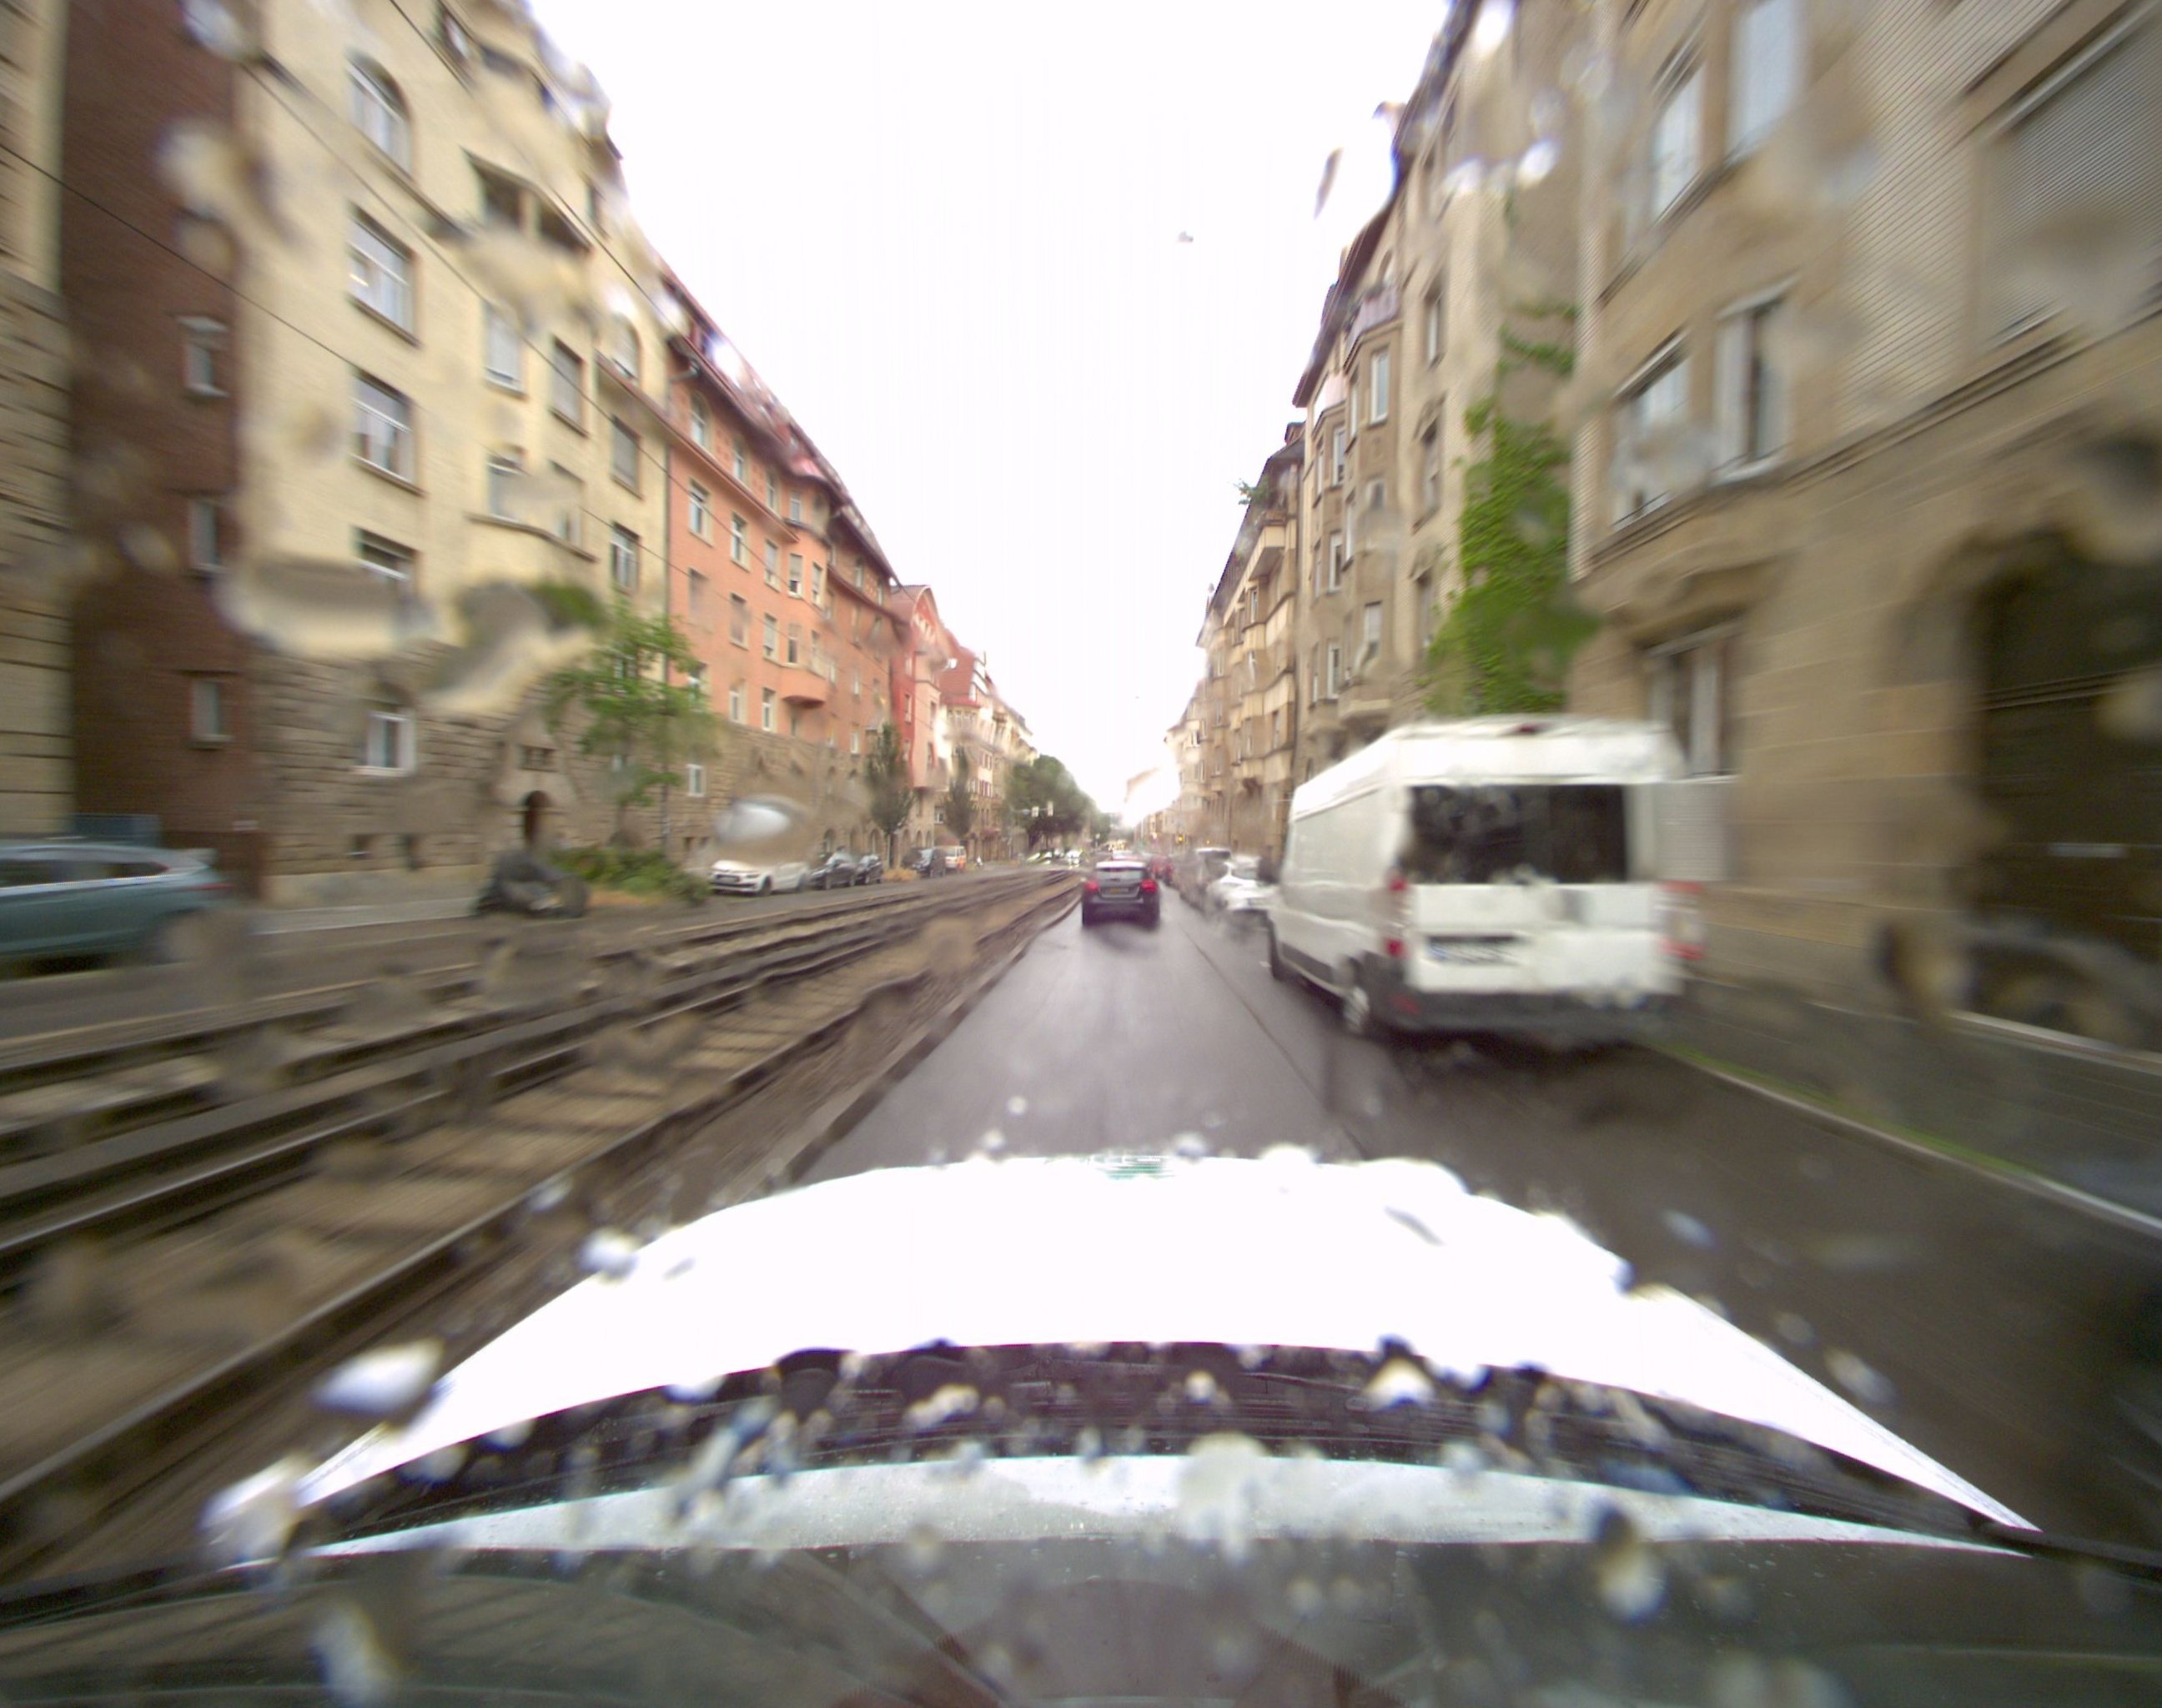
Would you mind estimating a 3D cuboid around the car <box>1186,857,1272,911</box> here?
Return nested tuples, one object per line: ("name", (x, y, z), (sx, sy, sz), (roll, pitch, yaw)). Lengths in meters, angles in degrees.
("car", (4.303, 0.828, 24.280), (1.986, 1.441, 4.002), (0, 0, 2))

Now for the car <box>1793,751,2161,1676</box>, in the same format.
("car", (2.928, 0.725, 0.195), (1.761, 1.808, 4.486), (1, 0, 3))

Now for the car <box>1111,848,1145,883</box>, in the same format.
("car", (2.252, 0.497, 38.731), (1.529, 1.510, 4.004), (1, 1, 3))

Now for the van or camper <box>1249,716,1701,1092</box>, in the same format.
("van or camper", (3.220, 0.323, 8.439), (2.055, 2.469, 6.124), (0, 0, 3))

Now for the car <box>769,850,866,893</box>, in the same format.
("car", (-10.570, 0.659, 33.163), (1.985, 1.509, 4.980), (2, 1, 4))

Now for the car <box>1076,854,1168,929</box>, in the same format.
("car", (0.931, 0.789, 18.968), (1.938, 1.564, 3.644), (0, 0, 2))

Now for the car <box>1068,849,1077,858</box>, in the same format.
("car", (-1.585, -0.146, 153.610), (1.790, 1.548, 3.999), (2, 0, -1))

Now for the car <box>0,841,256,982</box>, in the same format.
("car", (-11.831, 0.583, 8.725), (1.554, 1.438, 4.150), (1, 0, 4))

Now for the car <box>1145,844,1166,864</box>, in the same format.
("car", (6.029, -0.017, 66.002), (1.542, 1.508, 4.004), (1, 1, 3))

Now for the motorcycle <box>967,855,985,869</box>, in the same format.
("motorcycle", (-8.808, 0.695, 68.363), (1.423, 1.134, 0.624), (1, 0, 32))

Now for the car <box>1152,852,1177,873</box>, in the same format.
("car", (6.202, 0.605, 60.625), (1.596, 1.419, 3.150), (1, 1, 2))

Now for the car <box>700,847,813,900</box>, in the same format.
("car", (-10.784, 0.627, 27.428), (1.776, 1.589, 4.356), (-2, 0, 4))

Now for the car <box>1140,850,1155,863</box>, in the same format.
("car", (8.915, 0.339, 109.245), (1.763, 1.776, 3.999), (0, -1, -1))

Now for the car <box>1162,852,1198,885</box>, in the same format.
("car", (5.263, 0.750, 43.775), (1.703, 1.628, 4.005), (1, 1, 4))

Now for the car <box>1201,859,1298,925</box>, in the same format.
("car", (3.976, 0.848, 19.779), (1.669, 1.411, 4.002), (-1, 0, 2))

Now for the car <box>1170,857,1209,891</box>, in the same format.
("car", (5.171, 0.942, 39.131), (1.552, 1.478, 3.464), (1, 1, 3))

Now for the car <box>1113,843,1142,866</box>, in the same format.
("car", (3.541, -0.004, 61.180), (1.911, 1.655, 4.008), (1, 1, 7))

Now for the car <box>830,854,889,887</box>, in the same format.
("car", (-10.299, 0.716, 38.064), (1.636, 1.398, 3.884), (1, 1, 0))

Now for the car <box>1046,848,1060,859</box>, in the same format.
("car", (-4.757, -0.119, 140.099), (1.985, 1.793, 4.004), (1, 1, 3))

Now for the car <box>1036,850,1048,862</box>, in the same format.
("car", (-5.827, 0.242, 122.732), (1.785, 1.691, 3.996), (1, 0, -3))

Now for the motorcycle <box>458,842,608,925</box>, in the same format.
("motorcycle", (-11.329, 0.581, 16.966), (2.262, 1.642, 1.287), (0, 0, -14))

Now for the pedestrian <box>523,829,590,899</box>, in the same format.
("pedestrian", (-13.825, 0.248, 21.493), (1.003, 1.753, 0.925), (-5, 1, 3))

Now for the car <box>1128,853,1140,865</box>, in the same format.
("car", (7.852, 0.733, 121.045), (1.845, 1.797, 3.815), (0, -1, 3))

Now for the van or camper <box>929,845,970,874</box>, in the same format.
("van or camper", (-9.298, 0.363, 57.919), (1.986, 1.901, 4.700), (1, 0, 1))

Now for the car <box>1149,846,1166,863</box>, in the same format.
("car", (9.060, 0.081, 97.198), (1.890, 2.028, 4.180), (0, -1, 3))

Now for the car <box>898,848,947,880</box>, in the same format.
("car", (-9.675, 0.556, 50.023), (1.986, 1.901, 4.700), (0, 0, 1))

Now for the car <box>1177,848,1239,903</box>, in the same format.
("car", (4.439, 0.697, 29.050), (1.767, 1.776, 4.365), (0, 1, 3))

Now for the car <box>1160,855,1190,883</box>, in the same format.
("car", (5.720, 0.900, 49.965), (1.631, 1.542, 3.469), (1, 1, 4))
